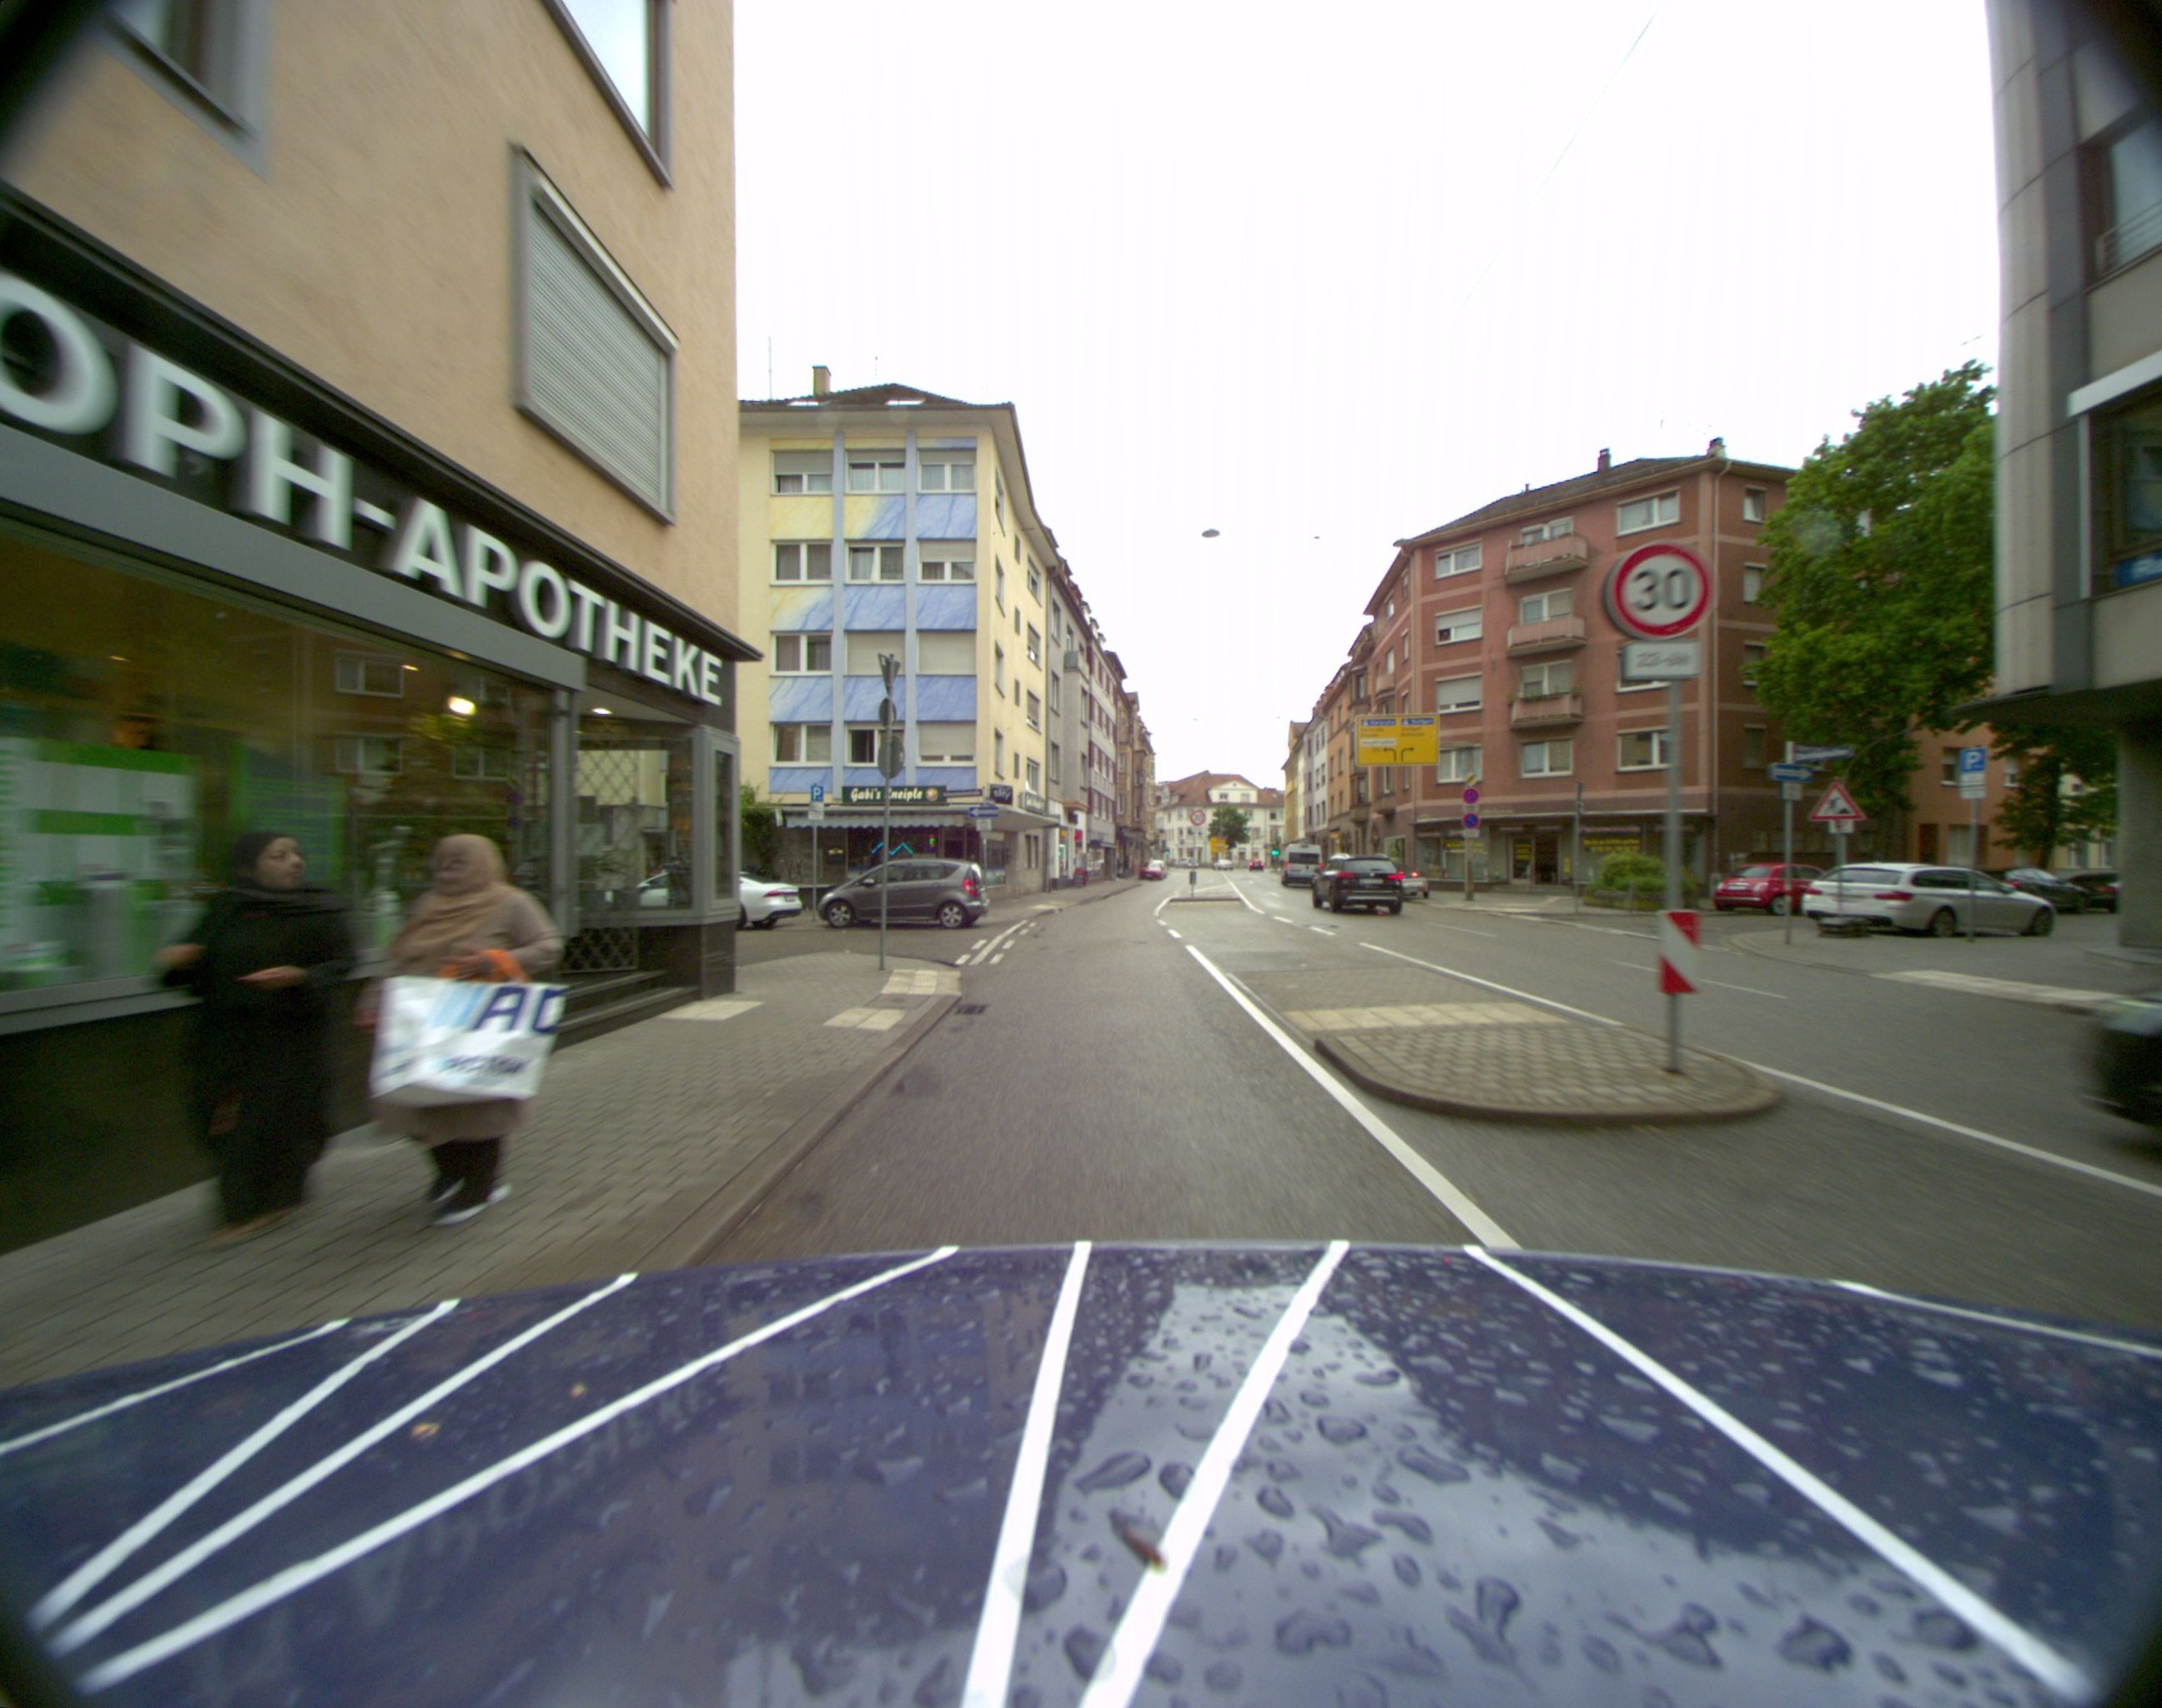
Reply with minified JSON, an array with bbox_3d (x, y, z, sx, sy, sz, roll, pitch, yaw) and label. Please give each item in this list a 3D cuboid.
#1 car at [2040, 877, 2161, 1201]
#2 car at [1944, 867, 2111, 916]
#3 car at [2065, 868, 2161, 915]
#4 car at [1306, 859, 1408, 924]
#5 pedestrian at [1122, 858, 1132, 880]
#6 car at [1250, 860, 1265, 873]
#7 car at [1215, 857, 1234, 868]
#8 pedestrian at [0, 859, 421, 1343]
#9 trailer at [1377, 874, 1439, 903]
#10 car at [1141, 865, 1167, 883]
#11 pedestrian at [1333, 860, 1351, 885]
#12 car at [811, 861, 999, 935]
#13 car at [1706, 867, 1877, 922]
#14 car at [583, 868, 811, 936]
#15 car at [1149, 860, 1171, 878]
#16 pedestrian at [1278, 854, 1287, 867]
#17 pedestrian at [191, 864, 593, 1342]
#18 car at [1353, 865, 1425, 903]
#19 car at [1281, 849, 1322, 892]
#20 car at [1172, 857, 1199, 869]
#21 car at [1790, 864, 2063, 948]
[{"bbox_3d":[5.720,0.860,1.806,1.713,1.443,4.085,0,1,0],"label":"car"},{"bbox_3d":[30.189,1.163,24.295,3.526,1.474,1.692,0,1,-6],"label":"car"},{"bbox_3d":[35.336,1.214,25.191,3.526,1.474,1.692,0,1,-6],"label":"car"},{"bbox_3d":[7.704,0.978,21.653,1.746,1.652,4.420,0,-1,6],"label":"car"},{"bbox_3d":[3.681,1.217,61.031,0.745,1.769,0.796,0,1,7],"label":"pedestrian"},{"bbox_3d":[23.048,1.587,99.134,1.757,1.642,4.310,0,1,11],"label":"car"},{"bbox_3d":[19.683,1.182,104.323,1.947,1.462,4.560,0,1,3],"label":"car"},{"bbox_3d":[-3.279,0.801,2.878,0.770,1.551,0.876,0,1,0],"label":"pedestrian"},{"bbox_3d":[12.567,1.304,29.352,1.590,0.944,3.059,-1,0,12],"label":"trailer"},{"bbox_3d":[5.890,1.601,61.023,1.747,1.361,4.318,0,0,9],"label":"car"},{"bbox_3d":[18.119,1.267,52.720,0.844,1.669,0.853,-3,1,-3],"label":"pedestrian"},{"bbox_3d":[-4.022,0.964,17.761,3.833,1.565,1.937,0,1,6],"label":"car"},{"bbox_3d":[20.303,1.117,21.784,3.526,1.474,1.692,0,1,-7],"label":"car"},{"bbox_3d":[-8.884,1.080,17.790,4.488,1.434,1.787,0,1,5],"label":"car"},{"bbox_3d":[7.133,1.336,68.183,1.650,1.485,4.451,0,1,10],"label":"car"},{"bbox_3d":[27.046,0.891,102.077,0.894,1.760,1.033,-4,0,8],"label":"pedestrian"},{"bbox_3d":[-2.492,0.822,2.868,0.780,1.551,0.782,0,1,0],"label":"pedestrian"},{"bbox_3d":[13.376,1.253,33.270,1.853,1.389,4.796,-3,0,9],"label":"car"},{"bbox_3d":[13.255,0.892,46.022,2.089,2.421,6.359,0,1,13],"label":"car"},{"bbox_3d":[15.714,1.334,114.660,1.951,1.574,4.511,0,1,-24],"label":"car"},{"bbox_3d":[17.454,0.992,15.731,4.646,1.524,1.903,0,1,-16],"label":"car"}]
